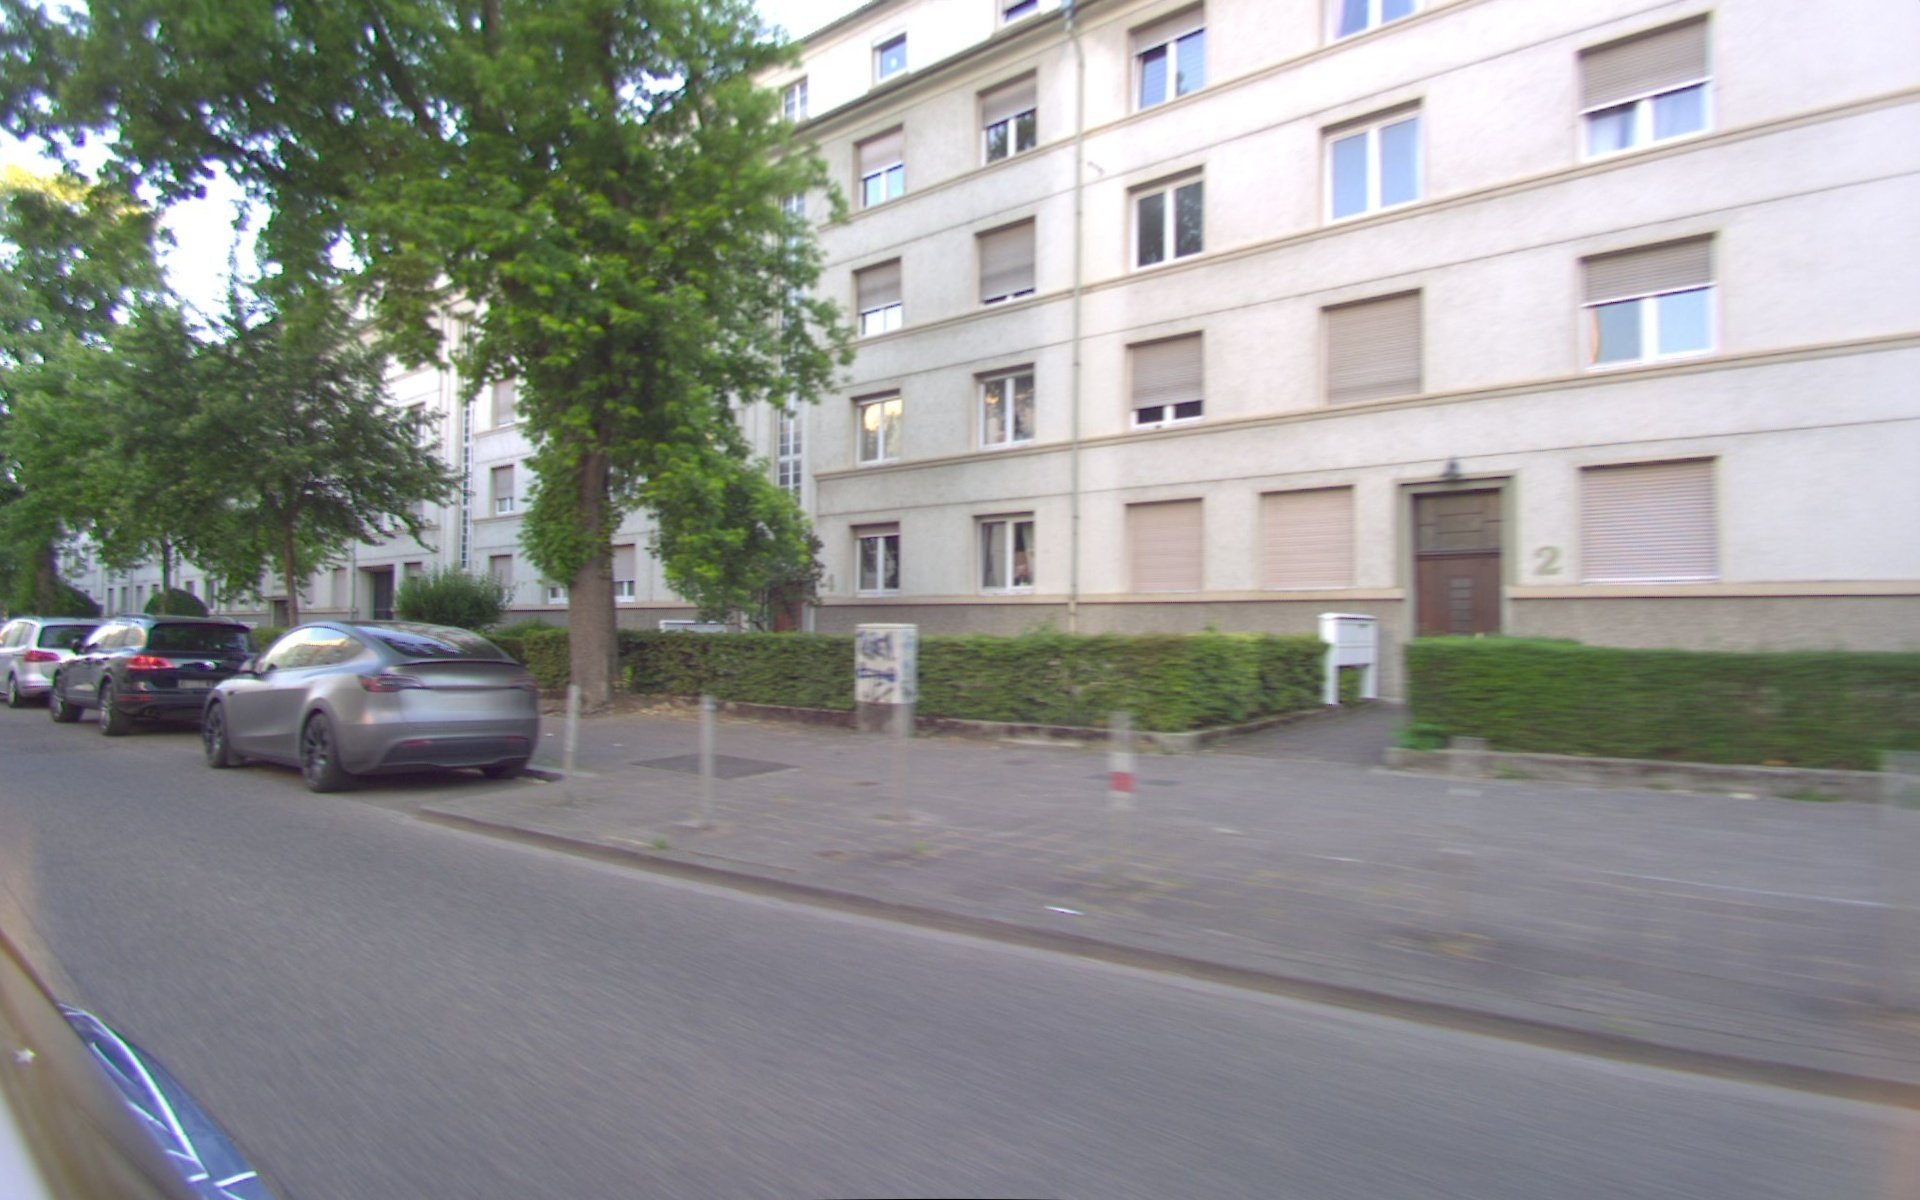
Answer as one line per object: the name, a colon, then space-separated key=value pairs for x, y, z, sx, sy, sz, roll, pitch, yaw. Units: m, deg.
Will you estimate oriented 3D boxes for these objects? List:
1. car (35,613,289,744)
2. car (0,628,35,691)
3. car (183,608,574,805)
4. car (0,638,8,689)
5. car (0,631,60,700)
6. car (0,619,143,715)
car: x=-12.384 y=1.148 z=15.605 sx=4.764 sy=1.732 sz=1.935 roll=-2 pitch=-4 yaw=38
car: x=-26.224 y=1.541 z=26.907 sx=4.111 sy=1.613 sz=1.690 roll=-2 pitch=-6 yaw=39
car: x=-6.210 y=0.988 z=10.604 sx=4.599 sy=1.629 sz=1.935 roll=-2 pitch=-5 yaw=38
car: x=-29.569 y=1.806 z=29.782 sx=3.839 sy=1.463 sz=1.690 roll=-2 pitch=-6 yaw=39
car: x=-22.567 y=1.493 z=23.741 sx=4.270 sy=1.508 sz=1.713 roll=-2 pitch=-5 yaw=43
car: x=-18.267 y=1.303 z=20.218 sx=4.850 sy=1.704 sz=1.829 roll=-2 pitch=-4 yaw=37
